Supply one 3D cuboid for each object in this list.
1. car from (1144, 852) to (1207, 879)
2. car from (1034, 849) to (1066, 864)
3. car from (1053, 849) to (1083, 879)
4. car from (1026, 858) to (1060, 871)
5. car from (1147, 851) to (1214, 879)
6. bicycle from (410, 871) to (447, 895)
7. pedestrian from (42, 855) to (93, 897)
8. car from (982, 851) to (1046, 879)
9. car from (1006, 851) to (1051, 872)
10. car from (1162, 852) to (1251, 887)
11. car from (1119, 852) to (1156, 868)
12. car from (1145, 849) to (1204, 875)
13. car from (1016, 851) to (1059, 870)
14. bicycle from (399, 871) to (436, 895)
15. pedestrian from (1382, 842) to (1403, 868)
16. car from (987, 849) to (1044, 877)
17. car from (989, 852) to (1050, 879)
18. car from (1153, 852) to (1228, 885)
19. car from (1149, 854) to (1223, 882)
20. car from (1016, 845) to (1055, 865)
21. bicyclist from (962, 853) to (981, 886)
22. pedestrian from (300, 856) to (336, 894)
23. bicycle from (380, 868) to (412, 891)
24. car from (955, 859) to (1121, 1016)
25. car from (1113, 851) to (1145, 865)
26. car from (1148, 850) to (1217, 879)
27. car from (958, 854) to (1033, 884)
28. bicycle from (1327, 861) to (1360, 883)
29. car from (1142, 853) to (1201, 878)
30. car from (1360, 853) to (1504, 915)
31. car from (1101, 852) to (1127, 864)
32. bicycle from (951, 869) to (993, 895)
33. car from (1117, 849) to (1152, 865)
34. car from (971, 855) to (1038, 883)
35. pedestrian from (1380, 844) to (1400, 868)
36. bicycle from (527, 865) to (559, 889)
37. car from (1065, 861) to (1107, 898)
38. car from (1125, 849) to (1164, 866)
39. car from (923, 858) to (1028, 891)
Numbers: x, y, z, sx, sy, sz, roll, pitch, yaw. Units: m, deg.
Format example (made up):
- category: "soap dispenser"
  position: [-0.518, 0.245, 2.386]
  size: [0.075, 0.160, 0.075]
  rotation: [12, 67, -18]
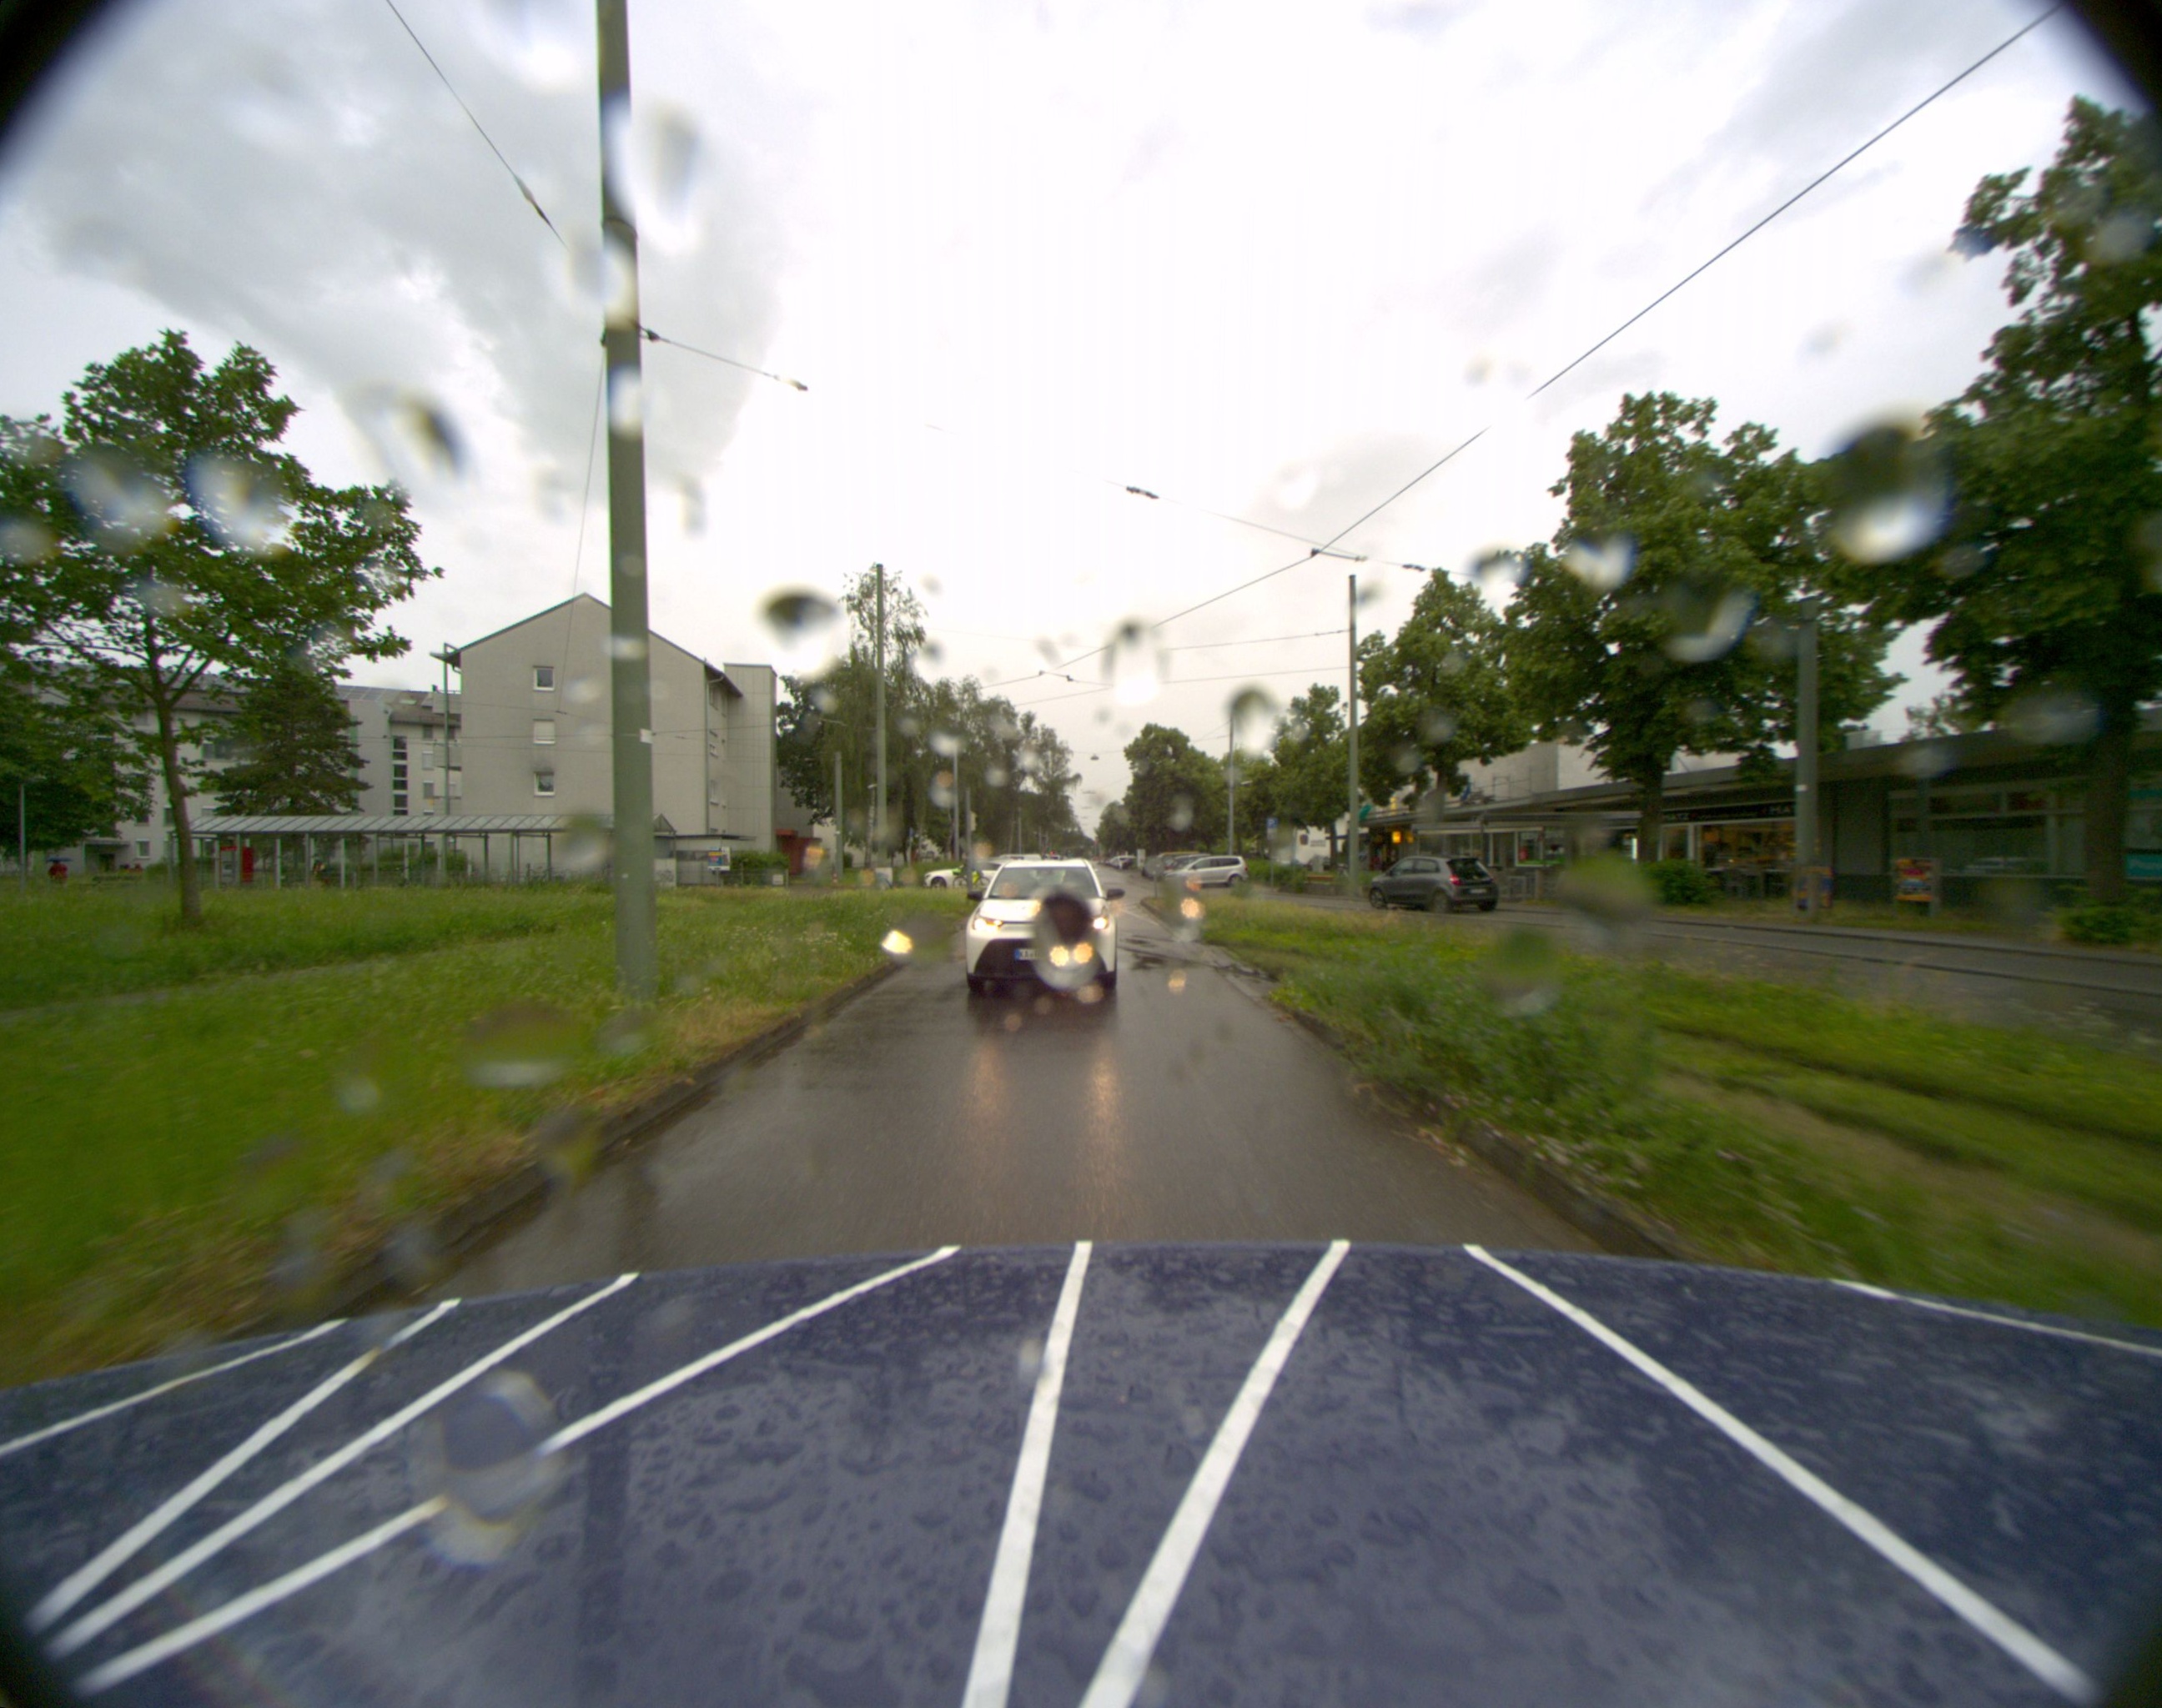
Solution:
- category: "car"
  position: [6.552, 0.781, 52.818]
  size: [4.089, 1.699, 1.898]
  rotation: [-2, 0, -1]
- category: "car"
  position: [-4.415, 0.419, 109.530]
  size: [4.546, 2.013, 1.898]
  rotation: [-2, 0, -1]
- category: "car"
  position: [-0.922, 0.698, 54.628]
  size: [1.999, 2.002, 3.999]
  rotation: [-2, 0, -1]
- category: "car"
  position: [-5.120, 1.408, 102.387]
  size: [4.546, 1.574, 1.898]
  rotation: [-2, 0, -1]
- category: "car"
  position: [6.509, 0.741, 50.176]
  size: [4.089, 1.699, 1.898]
  rotation: [-2, 0, -1]
- category: "bicycle"
  position: [-27.524, 1.198, 32.067]
  size: [0.377, 0.942, 1.238]
  rotation: [-2, 0, 3]
- category: "pedestrian"
  position: [-46.670, 1.014, 34.988]
  size: [1.051, 1.873, 1.192]
  rotation: [-2, 1, 28]
- category: "car"
  position: [-4.922, 0.787, 56.074]
  size: [4.442, 1.835, 1.723]
  rotation: [-2, 1, 1]
- category: "car"
  position: [-5.377, 0.753, 78.178]
  size: [4.546, 1.932, 1.898]
  rotation: [-2, 0, -1]
- category: "car"
  position: [6.607, 0.802, 40.228]
  size: [4.335, 1.664, 2.000]
  rotation: [-2, 0, -1]
- category: "car"
  position: [7.322, 0.767, 98.871]
  size: [4.546, 1.932, 1.898]
  rotation: [-2, 0, -1]
- category: "car"
  position: [7.578, 0.619, 61.909]
  size: [4.546, 1.932, 1.898]
  rotation: [-2, 0, -1]
- category: "car"
  position: [-4.743, 0.701, 83.544]
  size: [4.546, 1.932, 1.898]
  rotation: [-2, 0, -1]
- category: "bicycle"
  position: [-28.020, 1.219, 32.106]
  size: [0.377, 0.942, 1.238]
  rotation: [-2, 0, 3]
- category: "pedestrian"
  position: [20.442, 0.080, 49.858]
  size: [1.078, 1.704, 0.948]
  rotation: [0, 1, 11]
- category: "car"
  position: [-5.228, 0.687, 61.341]
  size: [4.443, 2.050, 1.722]
  rotation: [-2, 1, -3]
- category: "car"
  position: [-4.696, 0.885, 58.398]
  size: [4.442, 1.835, 1.723]
  rotation: [-2, 1, 1]
- category: "car"
  position: [6.122, 0.808, 42.828]
  size: [3.945, 1.664, 1.793]
  rotation: [-2, 0, -1]
- category: "car"
  position: [6.308, 0.820, 45.946]
  size: [4.089, 1.562, 2.000]
  rotation: [-2, 0, -1]
- category: "car"
  position: [-5.277, 0.136, 87.986]
  size: [4.443, 2.050, 1.722]
  rotation: [-2, 1, -3]
- category: "bicyclist"
  position: [-4.985, 0.708, 34.637]
  size: [0.699, 1.507, 0.724]
  rotation: [-1, 0, -19]
- category: "pedestrian"
  position: [-32.795, 0.889, 32.667]
  size: [0.636, 1.563, 0.789]
  rotation: [-2, 1, -1]
- category: "bicycle"
  position: [-28.985, 1.070, 32.153]
  size: [0.418, 0.942, 1.306]
  rotation: [-3, 0, -16]
- category: "car"
  position: [-0.425, 0.936, 9.856]
  size: [1.719, 1.613, 3.716]
  rotation: [-1, -2, 1]
- category: "car"
  position: [7.098, 0.530, 113.526]
  size: [4.546, 1.932, 1.898]
  rotation: [-2, 0, -1]
- category: "car"
  position: [6.381, 0.669, 48.057]
  size: [4.089, 1.699, 1.898]
  rotation: [-2, 0, -1]
- category: "car"
  position: [-4.813, 0.826, 43.365]
  size: [3.997, 1.477, 1.723]
  rotation: [-2, 1, 1]
- category: "bicycle"
  position: [13.050, 0.888, 37.811]
  size: [0.594, 1.066, 1.748]
  rotation: [0, 0, -17]
- category: "car"
  position: [7.024, 0.899, 59.013]
  size: [4.303, 1.799, 1.898]
  rotation: [-2, 0, -1]
- category: "car"
  position: [9.597, 0.780, 21.091]
  size: [1.553, 1.494, 3.617]
  rotation: [-3, 0, -18]
- category: "car"
  position: [5.822, 0.647, 133.881]
  size: [4.546, 1.932, 1.898]
  rotation: [-2, 0, -1]
- category: "bicycle"
  position: [-4.977, 1.278, 34.634]
  size: [1.755, 1.123, 0.727]
  rotation: [-1, -1, -19]
- category: "car"
  position: [7.234, 0.403, 103.105]
  size: [4.546, 1.932, 1.898]
  rotation: [-2, 0, -1]
- category: "car"
  position: [-4.829, 0.955, 48.555]
  size: [3.997, 1.576, 1.723]
  rotation: [-2, 1, 1]
- category: "pedestrian"
  position: [20.702, 0.120, 50.963]
  size: [1.078, 1.575, 0.948]
  rotation: [0, 1, 11]
- category: "bicycle"
  position: [-22.501, 0.944, 31.784]
  size: [0.377, 0.950, 1.238]
  rotation: [-2, 0, 3]
- category: "car"
  position: [0.308, 1.216, 37.885]
  size: [1.962, 1.544, 3.999]
  rotation: [-1, 2, 2]
- category: "car"
  position: [7.744, 0.415, 93.383]
  size: [4.546, 1.932, 1.898]
  rotation: [-2, 0, -1]
- category: "car"
  position: [-5.107, 0.996, 37.320]
  size: [4.838, 1.449, 2.000]
  rotation: [1, 0, 1]
